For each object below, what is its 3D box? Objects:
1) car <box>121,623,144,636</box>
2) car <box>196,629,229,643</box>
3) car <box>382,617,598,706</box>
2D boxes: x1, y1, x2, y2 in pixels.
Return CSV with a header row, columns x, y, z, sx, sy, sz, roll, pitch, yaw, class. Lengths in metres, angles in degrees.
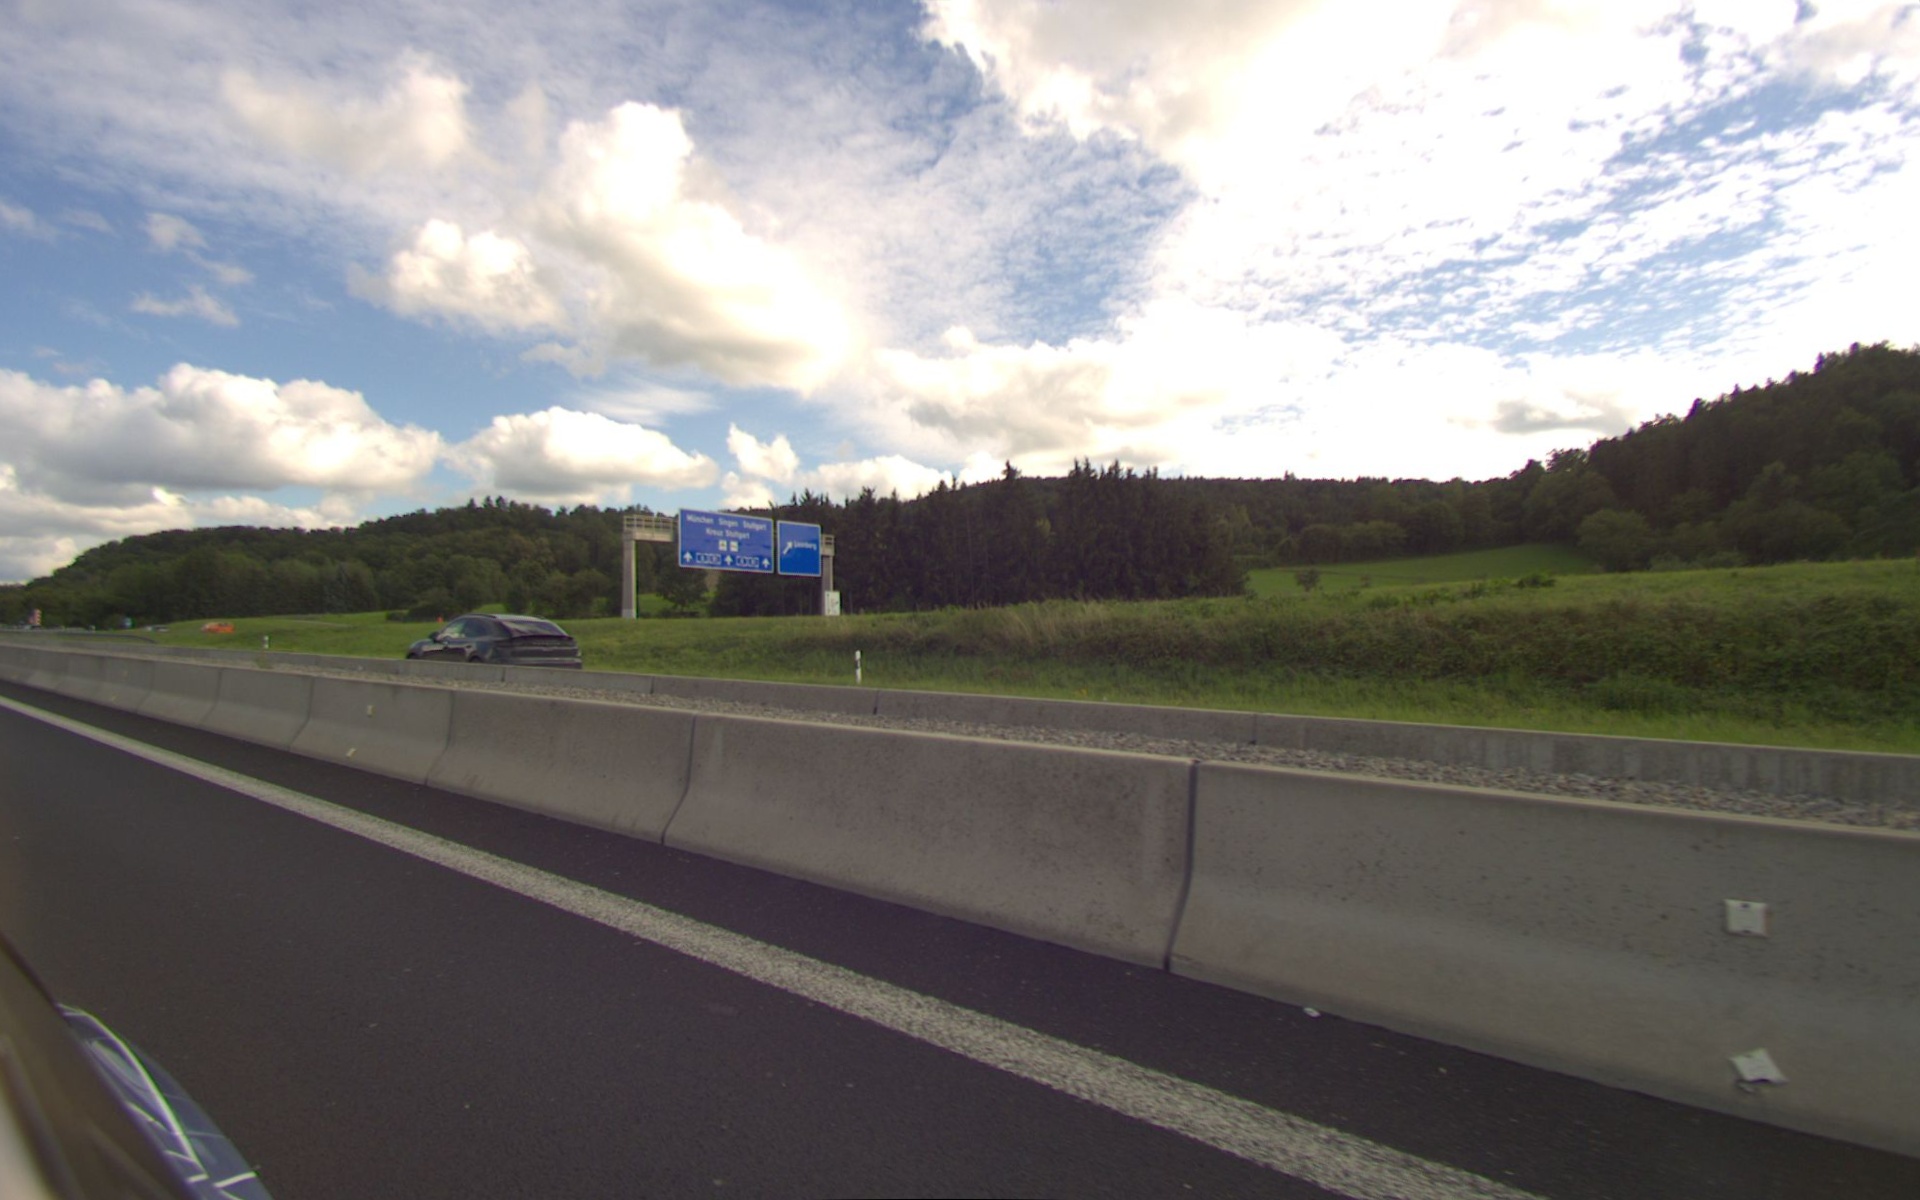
x,y,z,sx,sy,sz,roll,pitch,yaw,class
-141.187,5.017,172.670,3.993,2.029,1.975,-1,-3,37,car
-91.949,4.416,124.513,4.879,1.560,1.757,-1,-3,35,car
-9.698,1.178,20.665,5.362,1.585,1.972,-1,-3,41,car
